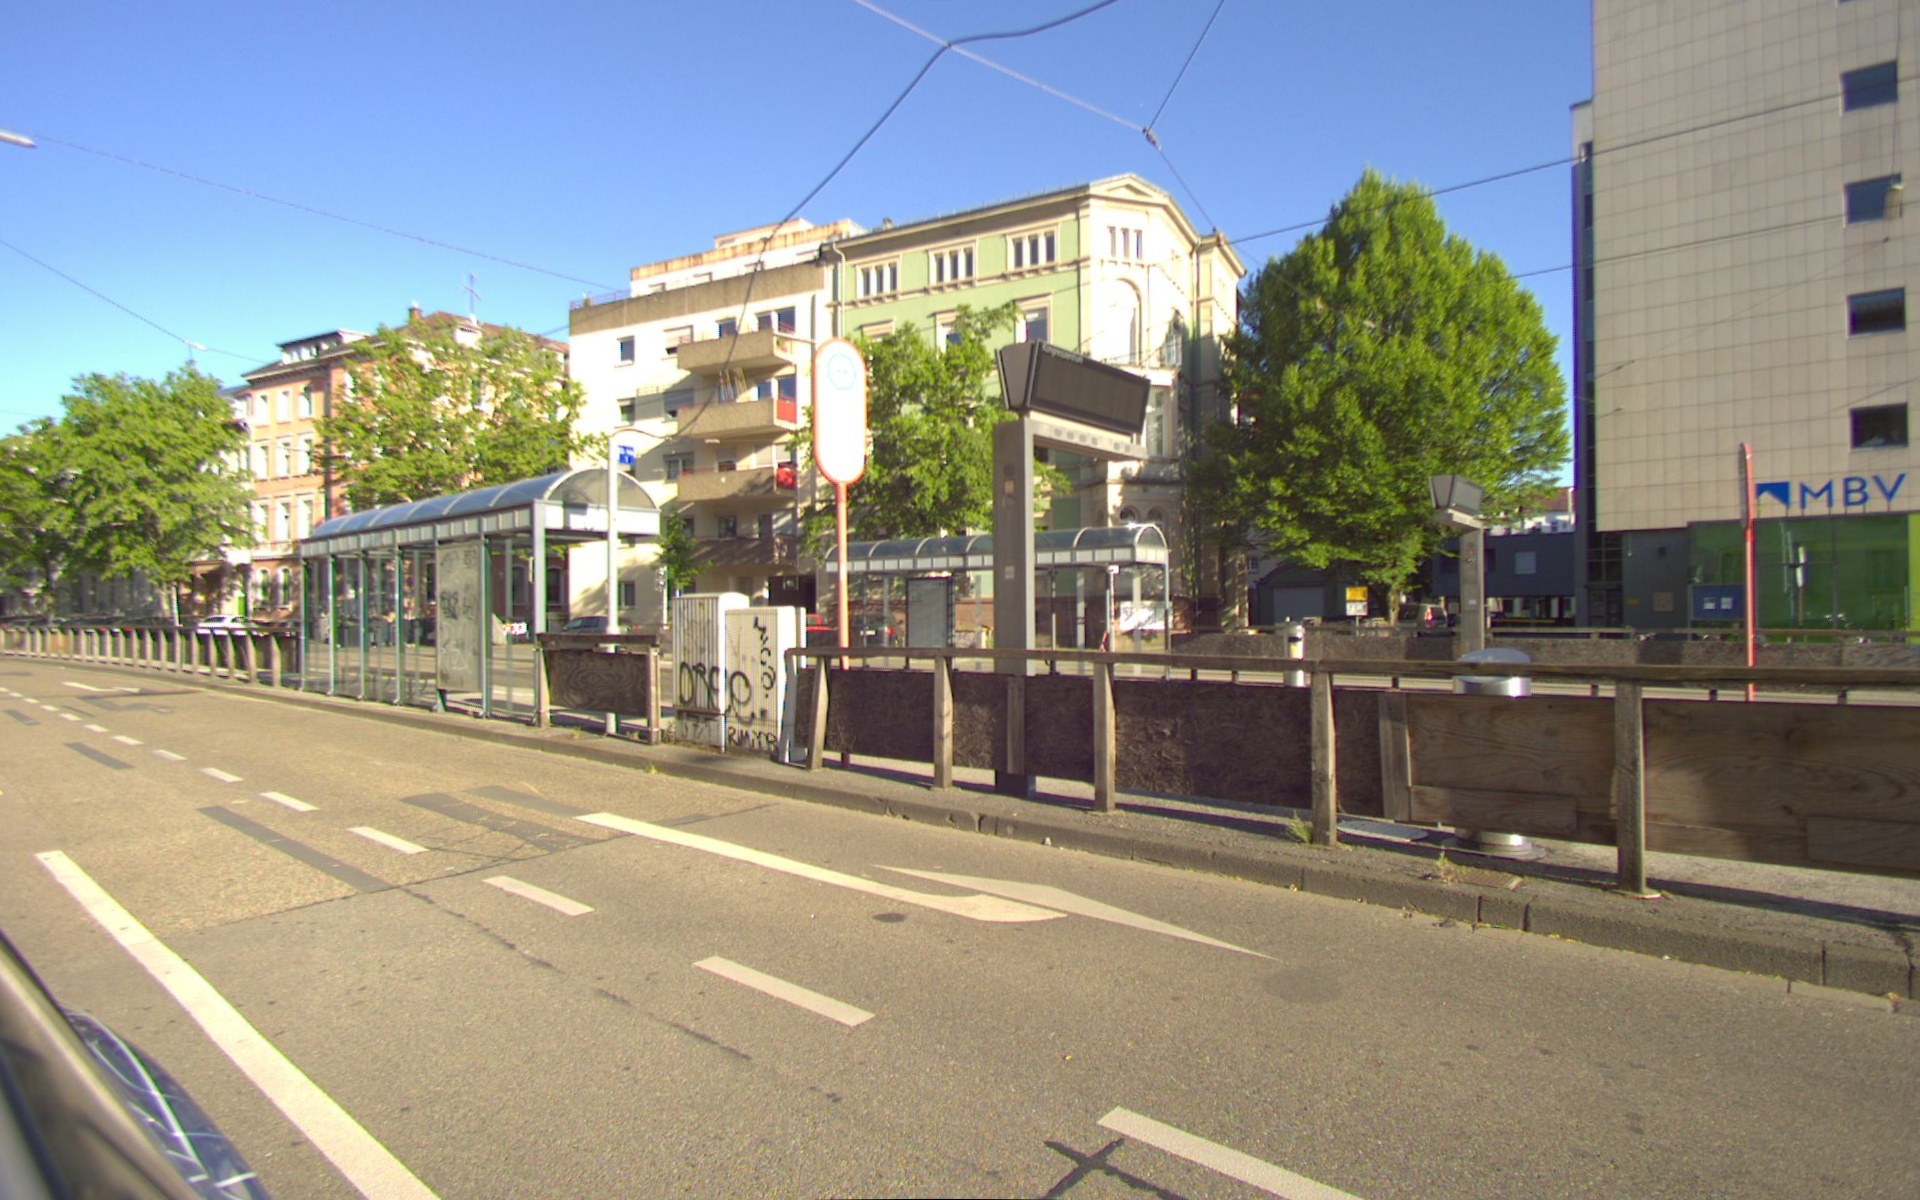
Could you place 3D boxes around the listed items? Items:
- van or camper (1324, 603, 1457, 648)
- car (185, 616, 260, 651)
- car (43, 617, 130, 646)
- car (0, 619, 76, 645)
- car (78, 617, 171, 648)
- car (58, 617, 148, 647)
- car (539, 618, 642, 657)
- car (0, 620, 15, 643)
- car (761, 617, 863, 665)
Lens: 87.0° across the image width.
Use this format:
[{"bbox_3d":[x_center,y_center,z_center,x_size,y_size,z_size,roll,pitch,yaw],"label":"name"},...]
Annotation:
[{"bbox_3d":[15.503,0.888,36.549,3.998,1.417,1.943,2,0,41],"label":"van or camper"},{"bbox_3d":[-39.524,1.755,54.375,1.966,1.736,4.012,0,1,-15],"label":"car"},{"bbox_3d":[-54.304,1.936,62.958,2.001,1.697,3.942,-2,-2,44],"label":"car"},{"bbox_3d":[-59.614,2.061,65.269,3.811,1.604,2.001,1,-2,-45],"label":"car"},{"bbox_3d":[-47.979,1.827,58.157,2.001,1.697,3.942,-2,-2,44],"label":"car"},{"bbox_3d":[-51.297,1.890,60.629,2.001,1.697,3.942,-2,-2,44],"label":"car"},{"bbox_3d":[-14.005,1.416,38.396,3.498,1.406,1.602,-1,-2,22],"label":"car"},{"bbox_3d":[-68.103,2.194,70.113,2.001,1.604,3.812,-2,-2,44],"label":"car"},{"bbox_3d":[-5.003,1.367,34.692,1.763,1.547,3.763,-1,-2,23],"label":"car"}]
